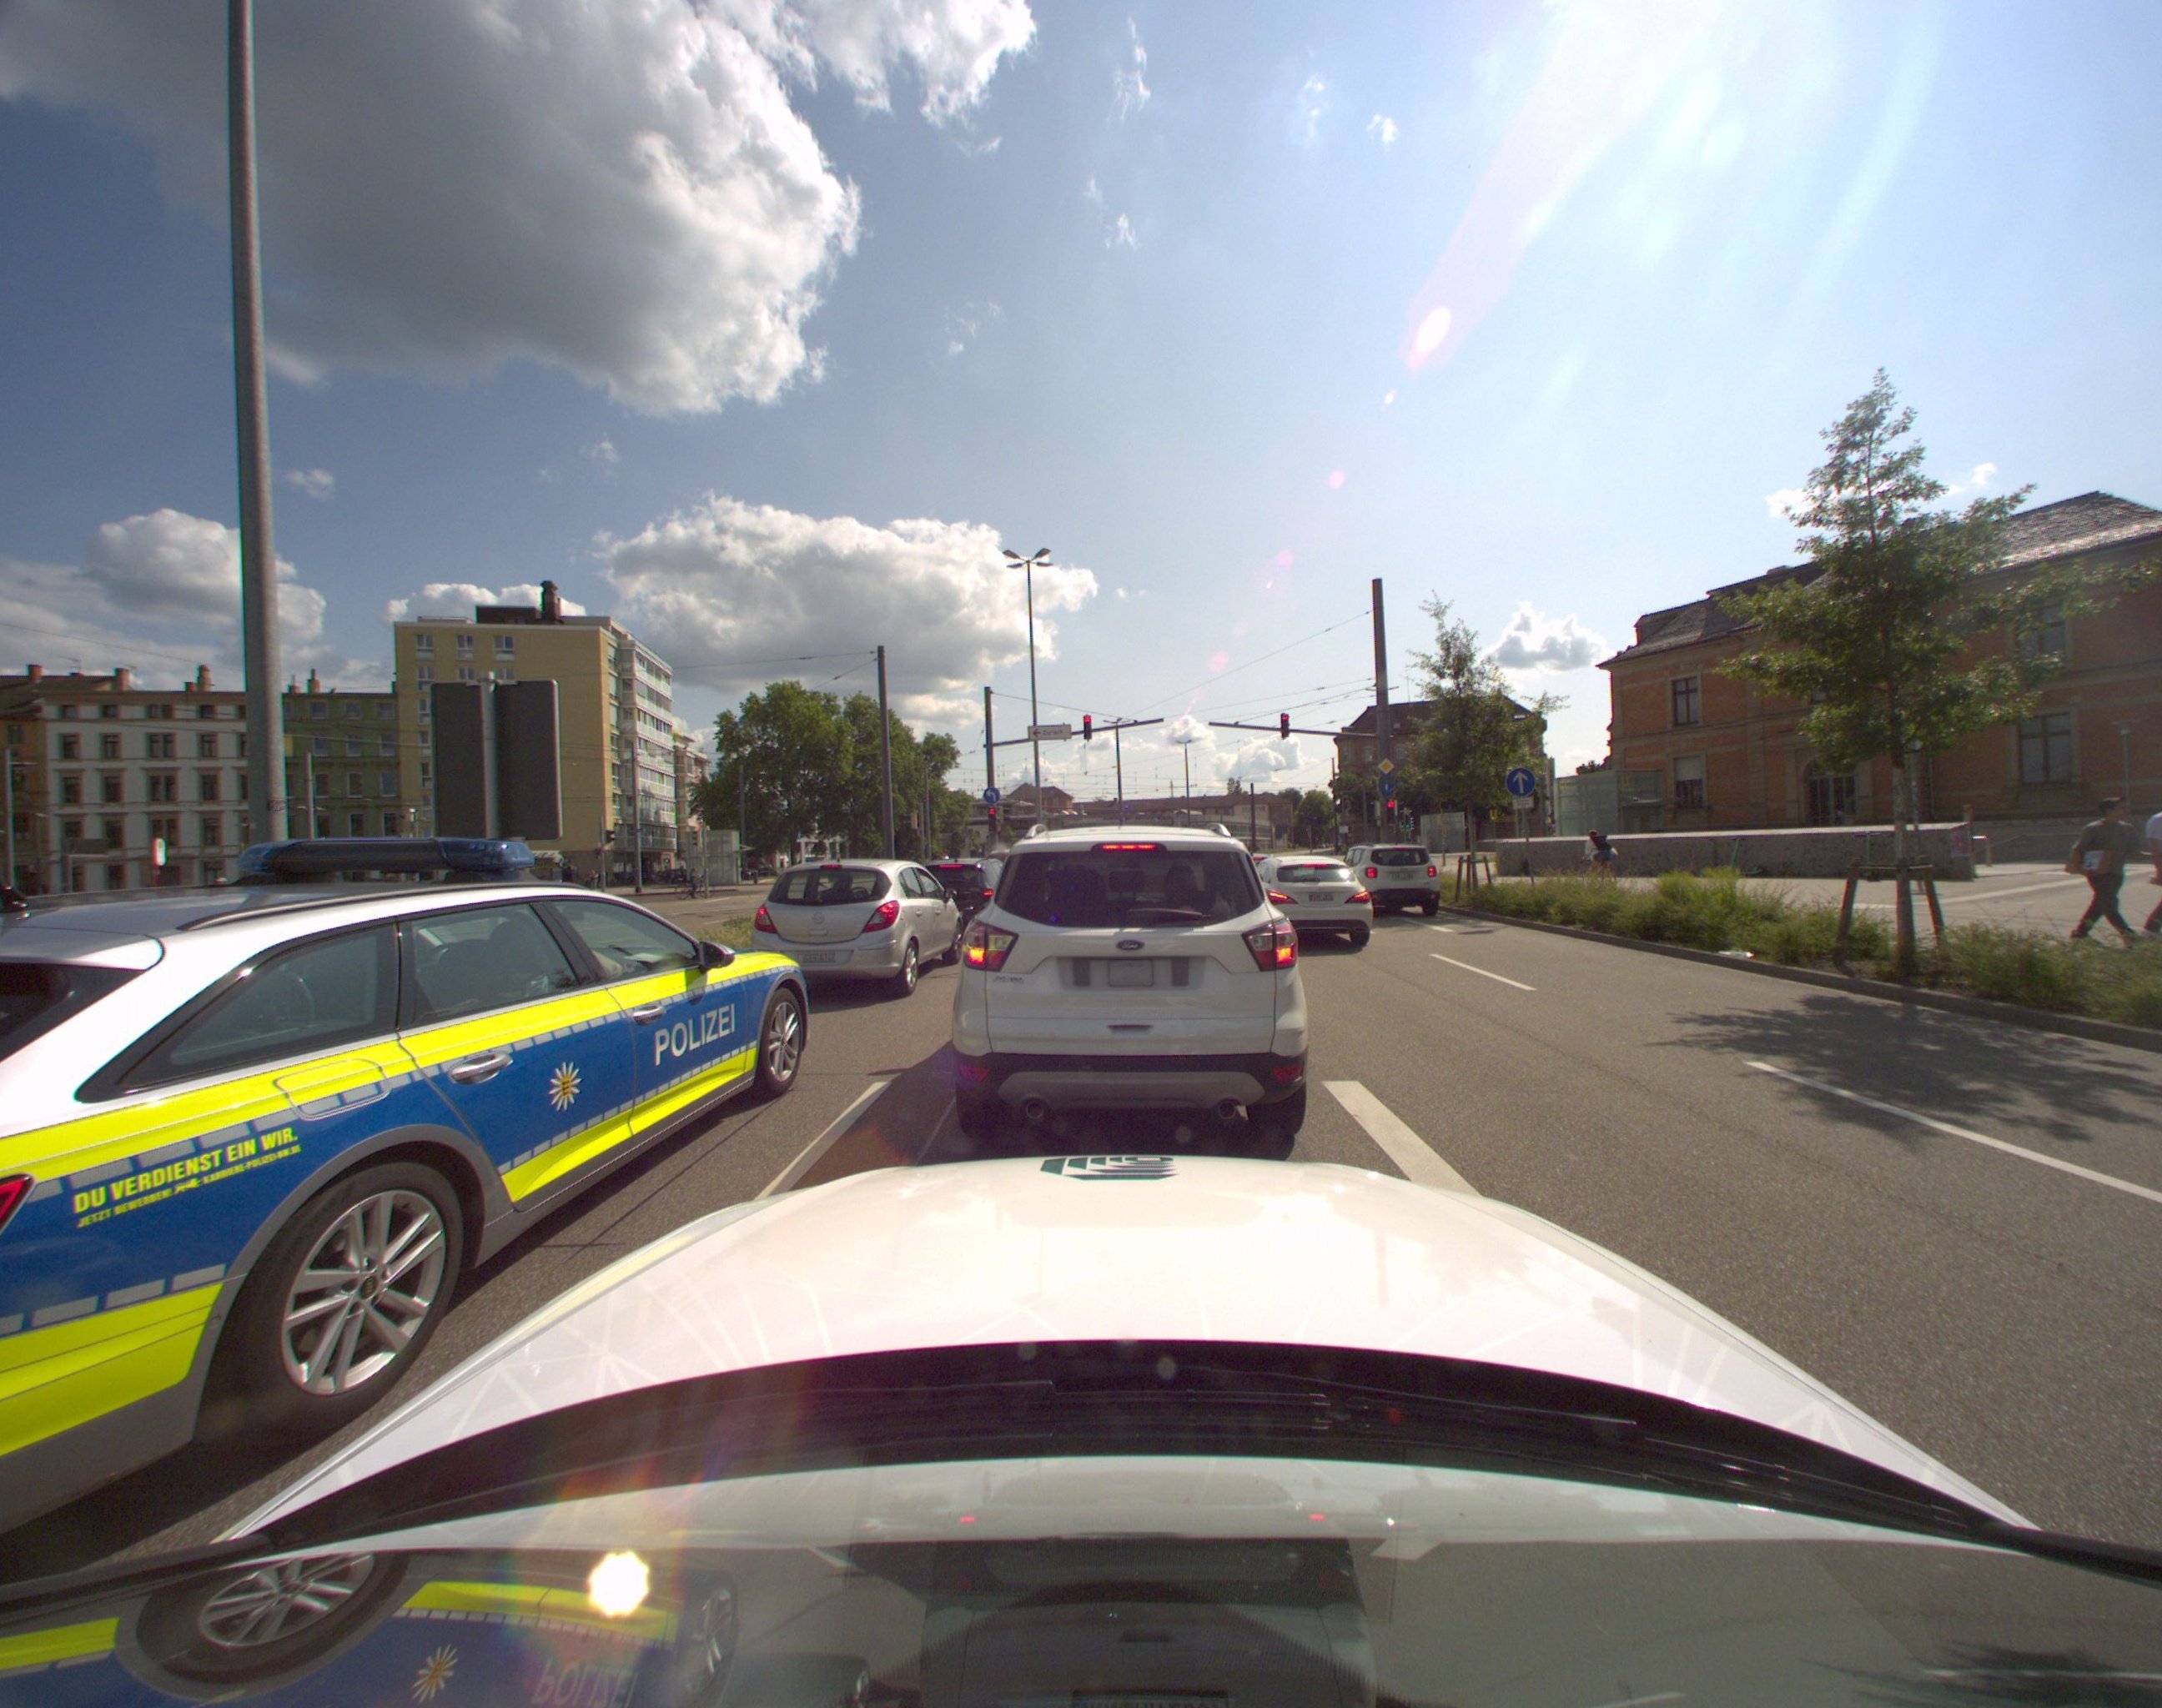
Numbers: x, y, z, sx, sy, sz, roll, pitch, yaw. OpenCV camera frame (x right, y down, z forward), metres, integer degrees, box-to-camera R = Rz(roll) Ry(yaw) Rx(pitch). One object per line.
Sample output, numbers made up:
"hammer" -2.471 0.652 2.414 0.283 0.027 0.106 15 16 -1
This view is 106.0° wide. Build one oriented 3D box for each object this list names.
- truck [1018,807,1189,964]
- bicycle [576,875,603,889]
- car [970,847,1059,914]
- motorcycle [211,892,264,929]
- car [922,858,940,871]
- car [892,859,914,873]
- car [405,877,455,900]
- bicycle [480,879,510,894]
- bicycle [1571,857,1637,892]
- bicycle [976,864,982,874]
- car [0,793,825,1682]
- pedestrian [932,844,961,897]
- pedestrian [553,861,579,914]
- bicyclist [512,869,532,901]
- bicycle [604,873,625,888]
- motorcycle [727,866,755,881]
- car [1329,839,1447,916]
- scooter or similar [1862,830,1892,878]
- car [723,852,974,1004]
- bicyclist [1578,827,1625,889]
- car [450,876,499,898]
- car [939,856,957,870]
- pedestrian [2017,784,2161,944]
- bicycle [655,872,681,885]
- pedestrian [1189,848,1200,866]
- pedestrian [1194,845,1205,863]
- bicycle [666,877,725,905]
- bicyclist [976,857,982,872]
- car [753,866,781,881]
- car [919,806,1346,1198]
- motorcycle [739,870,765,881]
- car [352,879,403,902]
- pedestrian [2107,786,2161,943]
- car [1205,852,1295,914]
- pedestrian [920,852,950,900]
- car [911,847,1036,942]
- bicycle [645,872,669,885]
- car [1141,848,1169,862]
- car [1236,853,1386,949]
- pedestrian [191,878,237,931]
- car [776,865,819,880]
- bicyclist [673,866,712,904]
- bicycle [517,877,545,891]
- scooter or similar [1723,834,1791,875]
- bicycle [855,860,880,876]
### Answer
"truck" 0.472 0.440 14.269 2.329 2.155 5.857 -1 0 3
"bicycle" -42.393 2.396 70.224 1.808 1.104 0.792 -2 0 -18
"car" -1.693 0.656 22.297 2.033 1.578 4.538 -1 0 0
"motorcycle" -30.649 2.054 29.598 1.436 1.236 0.484 -3 -1 3
"car" -22.924 1.638 124.652 1.963 1.937 4.227 -4 -1 -2
"car" -27.528 1.856 125.989 1.960 1.937 5.070 -4 -1 1
"car" -48.050 2.534 60.112 3.849 1.496 1.912 -3 -2 35
"bicycle" -49.378 2.738 68.644 1.808 1.104 0.792 -2 0 -18
"bicycle" 12.457 0.474 19.458 0.582 0.775 1.623 -2 0 4
"bicycle" -12.703 1.838 101.234 0.637 1.125 1.780 -2 0 -7
"car" -2.816 0.707 3.416 1.873 1.568 4.616 -2 0 1
"pedestrian" -4.955 0.609 30.020 0.844 1.917 0.693 -3 -1 1
"pedestrian" -19.078 1.220 30.192 0.770 1.903 0.819 0 -1 -30
"bicyclist" -32.442 1.802 47.270 0.779 1.797 0.706 0 -1 -17
"bicycle" -41.315 2.305 72.093 0.792 1.258 1.808 -2 0 -2
"motorcycle" -30.456 1.781 72.900 2.193 1.238 0.910 -2 1 19
"car" 7.322 0.524 19.812 1.826 1.652 4.009 -1 -1 8
"scooter or similar" 19.695 -0.008 20.146 1.326 1.104 0.460 -4 0 -44
"car" -2.622 0.754 10.255 1.841 1.474 4.002 -2 0 2
"bicyclist" 12.452 0.095 19.515 0.606 1.451 0.775 -2 0 3
"car" -45.963 2.481 61.676 3.849 1.496 1.912 -3 -2 36
"car" -20.290 1.448 124.335 1.989 2.014 4.227 -4 -1 -2
"pedestrian" 11.817 0.115 9.546 0.735 1.754 0.895 -5 -1 29
"bicycle" -38.041 2.240 75.009 1.948 1.147 0.792 -2 0 -17
"pedestrian" 11.239 0.309 80.493 0.932 1.744 0.582 0 -1 -43
"pedestrian" 11.641 0.018 79.836 0.932 1.744 0.582 0 -1 -42
"bicycle" -18.501 1.762 39.088 2.286 1.188 0.994 -3 -1 -1
"bicyclist" -12.685 1.293 100.993 0.636 1.738 0.661 -1 0 -5
"car" -32.481 2.038 84.400 1.905 1.413 3.986 -3 -1 -10
"car" 0.394 0.645 5.498 1.818 1.664 3.961 -1 0 5
"motorcycle" -31.408 2.012 77.768 0.801 0.917 2.057 -2 1 39
"car" -51.471 2.670 59.557 3.849 1.496 1.912 -3 -2 35
"pedestrian" 12.496 0.092 9.202 0.735 1.746 0.895 -5 -1 29
"car" 4.222 0.686 20.846 1.841 1.419 3.684 -1 0 5
"pedestrian" -5.229 0.786 29.195 0.844 1.648 0.693 -3 -1 1
"car" -1.969 0.691 16.212 1.756 1.568 4.528 -2 0 1
"bicycle" -38.354 2.218 73.711 1.808 1.147 0.792 -2 0 -17
"car" 8.540 0.068 93.678 1.882 1.461 3.991 -3 0 24
"car" 3.791 0.712 14.049 1.841 1.419 3.684 -1 0 5
"pedestrian" -30.365 1.758 28.547 0.769 1.797 1.019 0 -1 -26
"car" -30.439 2.005 87.495 3.975 1.327 1.632 -3 -1 -1
"bicyclist" -18.636 1.481 39.090 1.293 1.731 0.994 -3 -1 -1
"bicycle" -46.804 2.510 69.321 1.808 1.104 0.792 -2 0 -18
"scooter or similar" 19.398 0.018 23.401 0.466 1.118 1.438 -3 0 -18
"bicycle" -19.793 1.320 75.577 2.171 1.414 0.808 -1 0 -14
